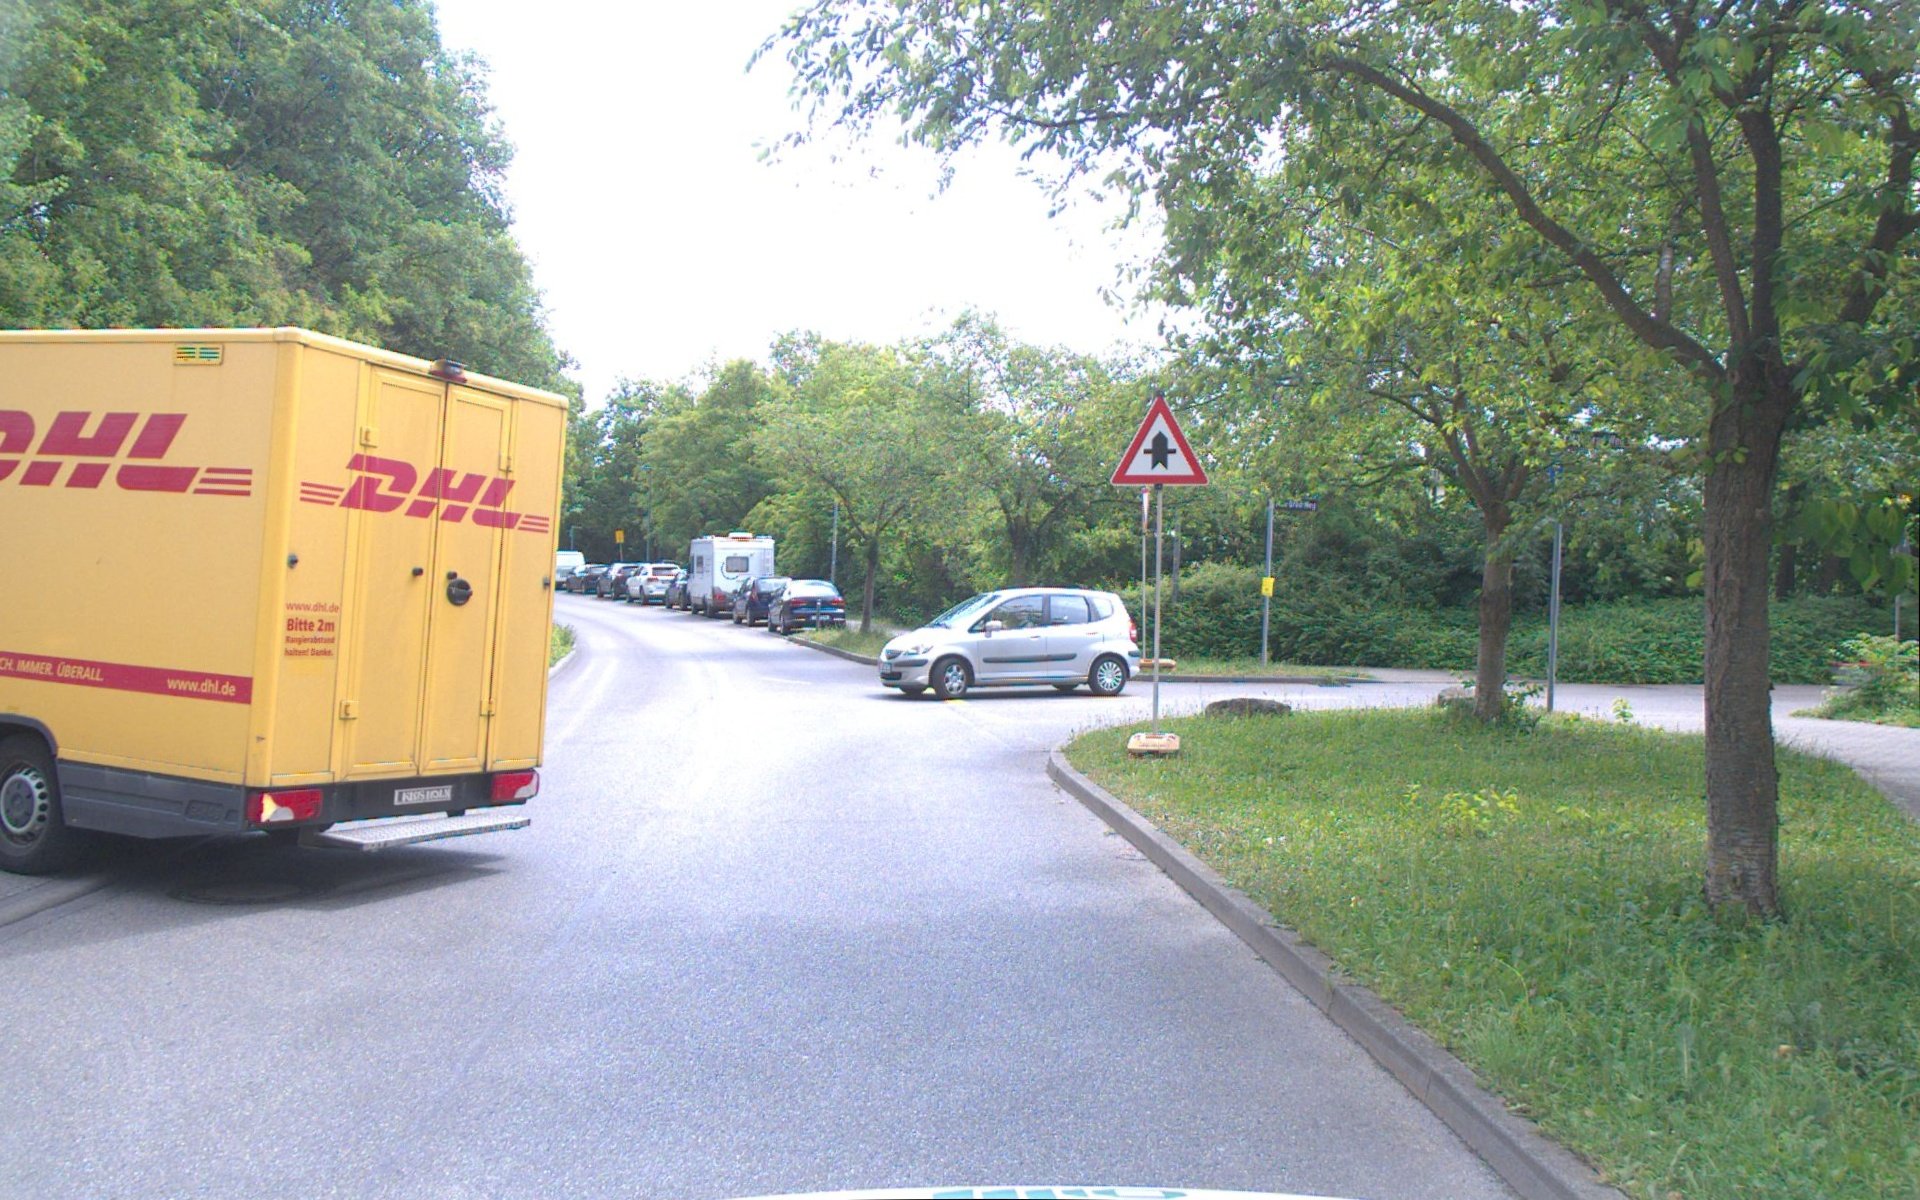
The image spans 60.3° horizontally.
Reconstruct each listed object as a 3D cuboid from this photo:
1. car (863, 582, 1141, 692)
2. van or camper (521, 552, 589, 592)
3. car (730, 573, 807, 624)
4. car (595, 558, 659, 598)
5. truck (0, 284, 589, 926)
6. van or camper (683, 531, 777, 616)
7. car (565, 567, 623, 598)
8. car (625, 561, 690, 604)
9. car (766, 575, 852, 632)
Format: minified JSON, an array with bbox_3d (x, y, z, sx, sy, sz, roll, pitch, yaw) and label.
[{"bbox_3d":[0.582,0.517,23.687,3.587,1.481,1.836,1,0,-20],"label":"car"},{"bbox_3d":[-21.825,-1.564,88.949,1.975,1.953,5.207,-2,4,-33],"label":"van or camper"},{"bbox_3d":[-6.173,-0.051,52.940,1.702,1.545,3.869,-1,0,-18],"label":"car"},{"bbox_3d":[-15.682,-1.055,77.786,1.969,1.654,4.244,-3,4,-25],"label":"car"},{"bbox_3d":[-5.516,-0.157,9.774,6.423,2.857,2.231,3,2,26],"label":"truck"},{"bbox_3d":[-8.442,-0.980,60.266,2.297,2.919,6.119,1,1,-18],"label":"van or camper"},{"bbox_3d":[-18.588,-0.927,83.900,1.778,1.489,3.961,-1,2,-30],"label":"car"},{"bbox_3d":[-13.301,-0.799,72.465,1.846,1.718,4.548,1,2,-23],"label":"car"},{"bbox_3d":[-4.263,0.052,46.072,1.746,1.459,4.318,-1,1,-14],"label":"car"}]
